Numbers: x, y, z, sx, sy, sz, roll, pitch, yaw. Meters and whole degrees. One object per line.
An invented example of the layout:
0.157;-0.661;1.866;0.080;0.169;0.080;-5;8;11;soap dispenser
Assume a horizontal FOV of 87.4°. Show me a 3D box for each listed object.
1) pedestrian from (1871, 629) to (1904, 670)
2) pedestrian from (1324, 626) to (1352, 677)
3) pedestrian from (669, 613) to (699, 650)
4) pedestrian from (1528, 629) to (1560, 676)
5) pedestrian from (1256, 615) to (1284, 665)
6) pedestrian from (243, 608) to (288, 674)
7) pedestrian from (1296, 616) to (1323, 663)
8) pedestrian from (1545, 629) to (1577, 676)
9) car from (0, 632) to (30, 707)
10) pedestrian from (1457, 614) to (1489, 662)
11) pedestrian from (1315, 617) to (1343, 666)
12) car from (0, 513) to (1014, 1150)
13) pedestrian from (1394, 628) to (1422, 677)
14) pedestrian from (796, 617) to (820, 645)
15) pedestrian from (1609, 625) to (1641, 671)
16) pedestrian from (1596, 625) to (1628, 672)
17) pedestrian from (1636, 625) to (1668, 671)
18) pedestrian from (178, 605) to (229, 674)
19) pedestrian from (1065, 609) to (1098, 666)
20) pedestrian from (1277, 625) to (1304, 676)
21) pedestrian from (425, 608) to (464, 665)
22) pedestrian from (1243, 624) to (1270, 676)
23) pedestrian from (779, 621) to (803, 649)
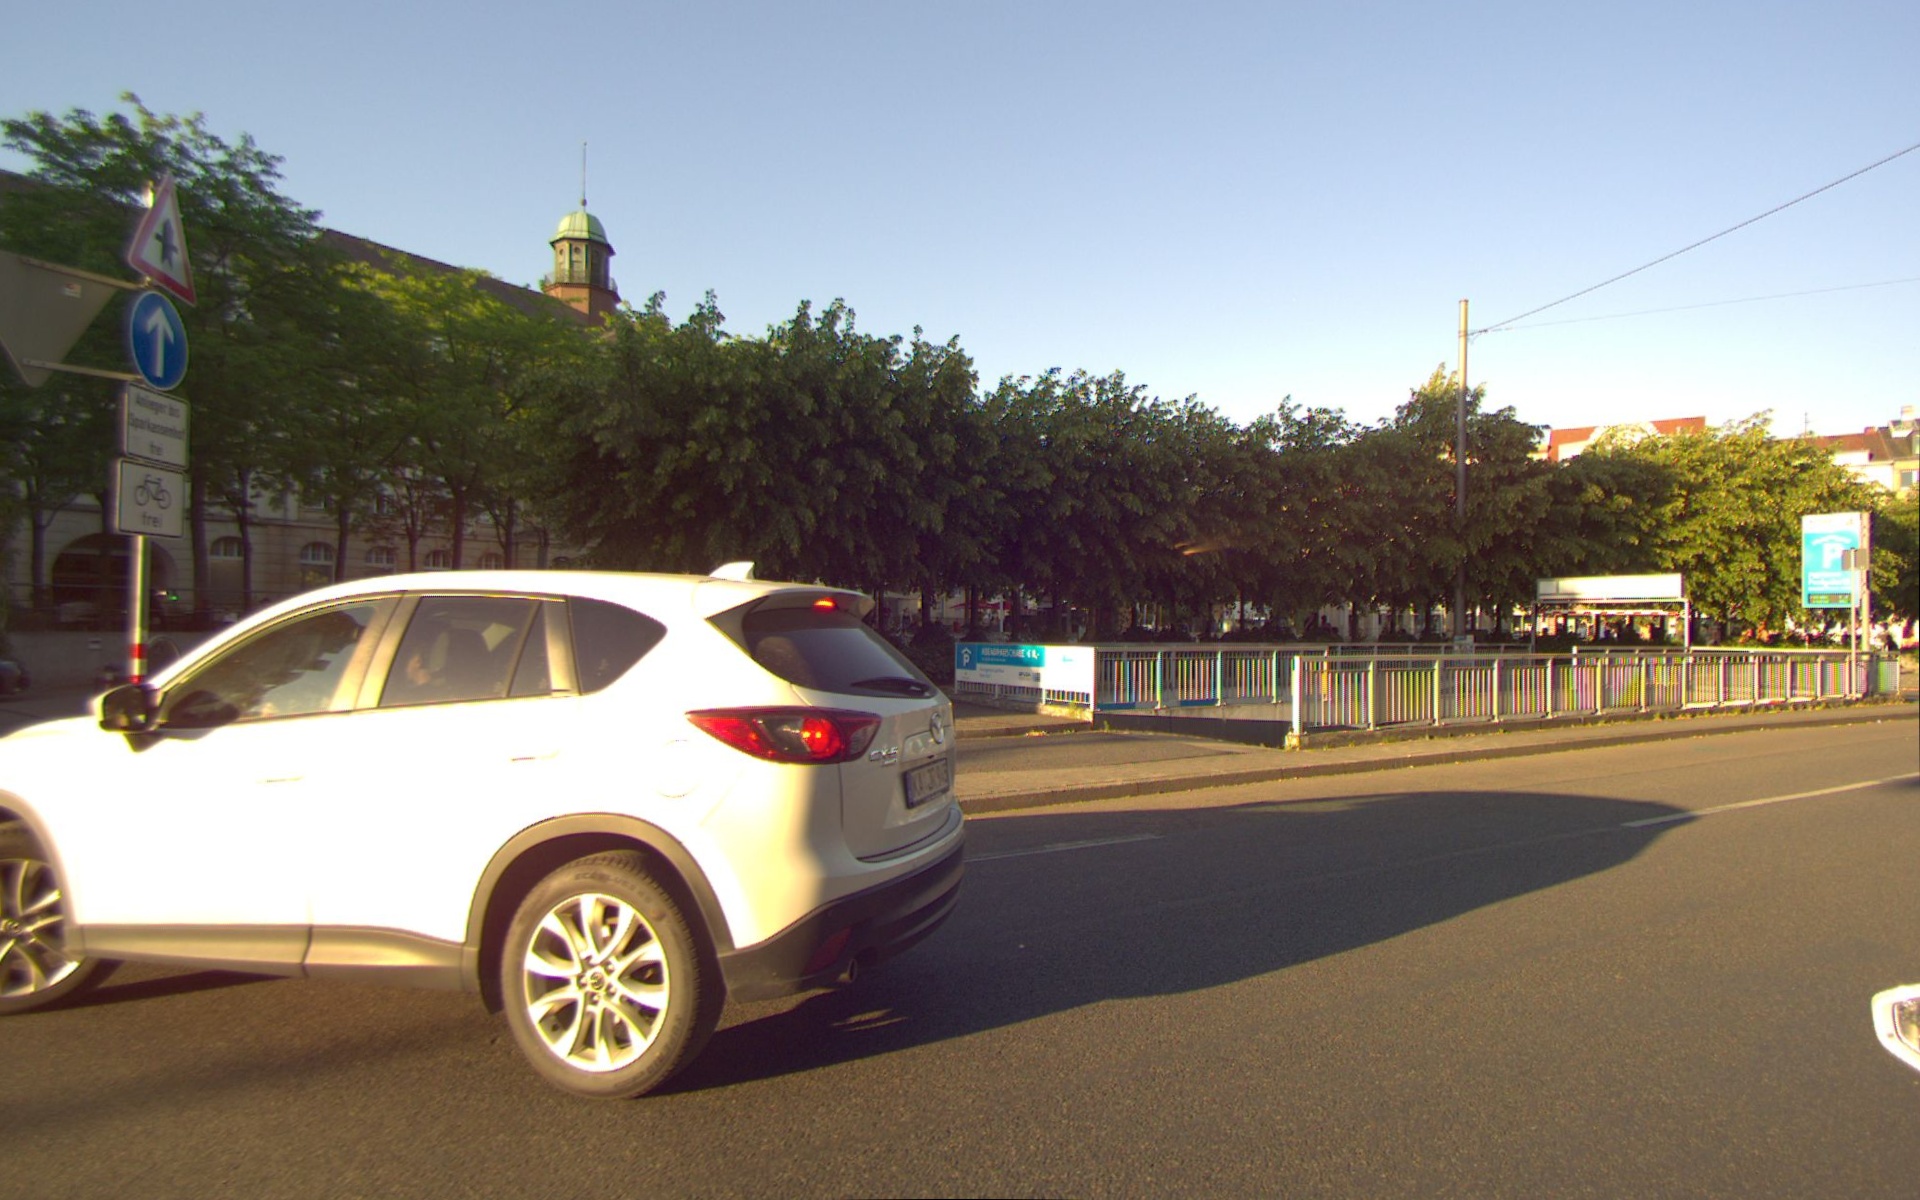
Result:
36.906;1.959;39.966;0.558;1.616;0.791;1;0;-11;pedestrian
12.233;1.673;32.506;0.558;1.616;0.678;1;0;-11;pedestrian
-9.768;1.105;35.589;0.778;1.296;0.652;0;-3;35;pedestrian
20.324;1.814;34.959;0.665;1.616;0.678;1;0;-11;pedestrian
10.231;1.320;33.195;0.558;1.616;0.791;1;0;-11;pedestrian
-17.314;1.022;25.038;0.612;1.607;0.699;0;-3;36;pedestrian
12.236;1.384;35.141;0.558;1.616;0.791;1;0;-11;pedestrian
20.990;1.817;35.090;0.665;1.616;0.678;1;0;-11;pedestrian
-18.964;1.220;16.878;1.964;1.335;4.521;-1;-2;29;car
17.309;1.281;33.916;0.665;1.616;0.678;1;0;-11;pedestrian
12.539;1.409;34.161;0.558;1.616;0.791;1;0;-11;pedestrian
-2.107;0.674;4.319;4.375;1.784;2.001;0;-1;14;car
14.869;1.735;33.349;0.558;1.616;0.678;1;0;-11;pedestrian
-6.137;1.261;40.582;0.703;1.134;0.609;-1;-2;35;pedestrian
23.878;1.720;36.096;0.558;1.616;0.791;1;0;-11;pedestrian
23.054;1.701;35.521;0.558;1.616;0.791;1;0;-11;pedestrian
25.154;1.743;36.539;0.558;1.616;0.791;1;0;-11;pedestrian
-18.096;0.946;24.029;0.679;1.607;0.767;0;-3;36;pedestrian
3.528;1.083;29.147;0.693;1.616;0.673;0;-1;42;pedestrian
10.629;1.623;32.316;0.558;1.616;0.678;1;0;-11;pedestrian
-14.680;1.034;28.601;0.778;1.607;0.652;0;-3;35;pedestrian
9.437;1.589;31.968;0.558;1.616;0.678;1;0;-11;pedestrian
-6.699;1.390;39.872;0.703;1.073;0.609;-1;-2;35;pedestrian
